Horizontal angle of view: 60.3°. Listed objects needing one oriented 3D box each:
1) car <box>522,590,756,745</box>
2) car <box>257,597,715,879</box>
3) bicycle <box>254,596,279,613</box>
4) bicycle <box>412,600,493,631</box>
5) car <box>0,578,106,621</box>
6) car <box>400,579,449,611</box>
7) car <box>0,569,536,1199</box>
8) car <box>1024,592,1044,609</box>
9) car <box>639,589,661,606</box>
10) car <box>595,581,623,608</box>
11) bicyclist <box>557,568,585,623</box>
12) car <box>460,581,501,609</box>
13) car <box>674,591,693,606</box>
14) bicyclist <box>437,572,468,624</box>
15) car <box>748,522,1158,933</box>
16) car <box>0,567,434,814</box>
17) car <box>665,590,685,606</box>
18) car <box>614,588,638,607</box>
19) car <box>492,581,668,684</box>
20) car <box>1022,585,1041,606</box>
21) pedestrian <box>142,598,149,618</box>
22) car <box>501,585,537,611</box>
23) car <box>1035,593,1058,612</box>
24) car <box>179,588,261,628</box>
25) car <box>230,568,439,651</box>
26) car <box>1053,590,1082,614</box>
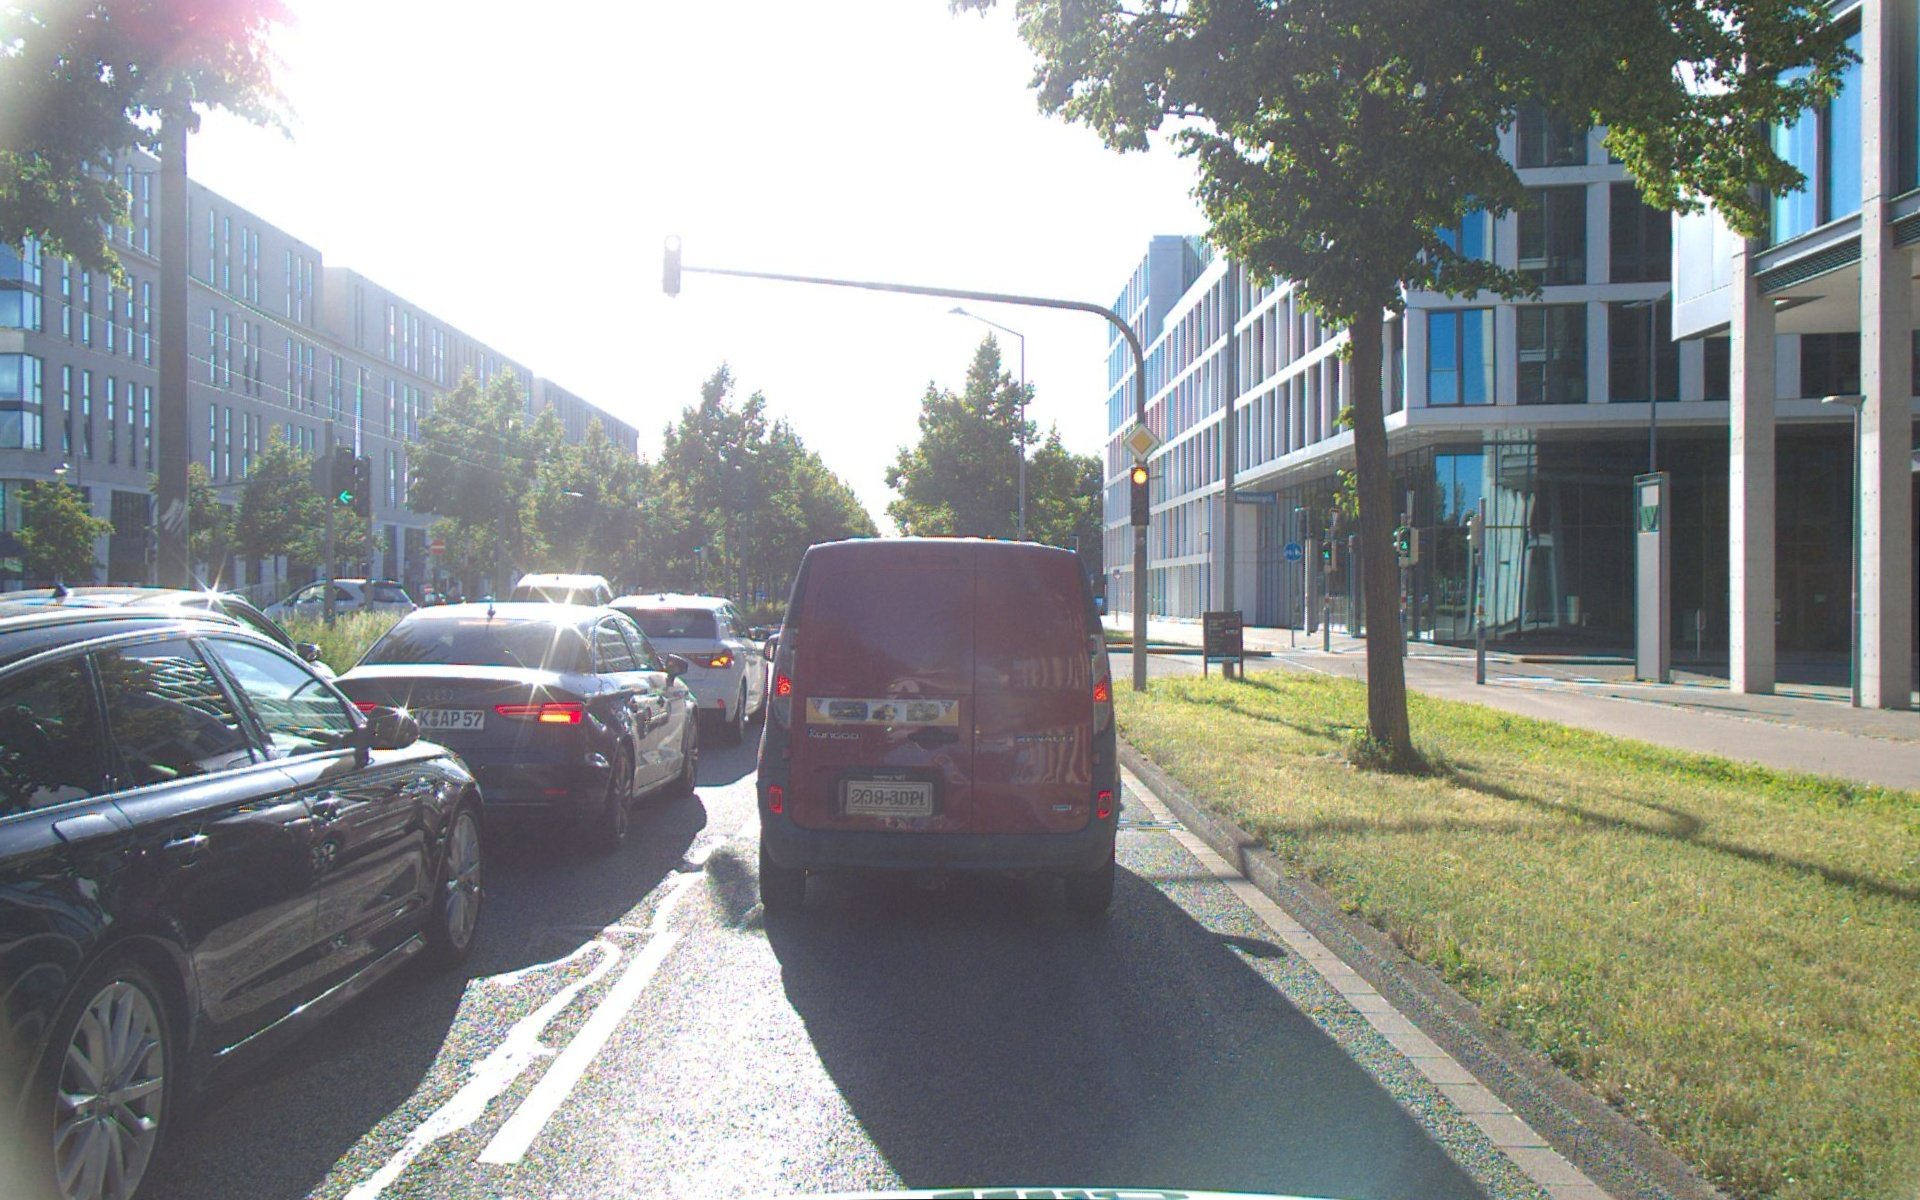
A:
[{"bbox_3d":[-3.265,0.625,17.521,1.767,1.451,3.900,0,0,-1],"label":"car"},{"bbox_3d":[-2.798,0.723,10.828,1.804,1.451,4.338,0,0,-1],"label":"car"},{"bbox_3d":[-40.743,0.255,97.215,0.663,1.005,1.956,0,0,-1],"label":"bicycle"},{"bbox_3d":[-19.725,0.605,64.307,2.883,1.211,0.817,0,0,-3],"label":"bicycle"},{"bbox_3d":[-33.204,-0.037,60.651,1.729,1.546,3.999,0,0,-1],"label":"car"},{"bbox_3d":[-35.288,-0.325,109.109,1.953,2.049,3.999,0,0,-1],"label":"car"},{"bbox_3d":[-2.787,0.685,5.079,1.836,1.510,4.965,0,0,-2],"label":"car"},{"bbox_3d":[8.066,0.051,179.933,1.953,1.813,3.999,0,0,-1],"label":"car"},{"bbox_3d":[-37.215,-0.272,198.659,1.953,2.049,3.999,0,0,-1],"label":"car"},{"bbox_3d":[-35.602,-0.580,167.816,1.953,2.653,3.999,0,0,-1],"label":"car"},{"bbox_3d":[-15.045,-0.173,64.020,0.921,2.129,0.817,0,0,-5],"label":"bicyclist"},{"bbox_3d":[-35.838,-0.396,123.639,1.953,2.049,3.999,0,0,-1],"label":"car"},{"bbox_3d":[-37.165,-0.212,222.301,1.953,2.049,3.999,0,0,-1],"label":"car"},{"bbox_3d":[-19.739,-0.073,64.323,0.978,1.981,0.817,0,0,-2],"label":"bicyclist"},{"bbox_3d":[-0.058,0.558,9.325,1.804,1.812,3.999,0,0,-1],"label":"car"},{"bbox_3d":[-5.531,0.525,12.147,1.762,1.473,4.569,0,0,1],"label":"car"},{"bbox_3d":[-37.353,-0.234,216.675,1.953,2.049,3.999,0,0,-1],"label":"car"},{"bbox_3d":[-36.719,-0.291,181.853,1.953,2.049,3.999,0,0,-1],"label":"car"},{"bbox_3d":[-5.938,0.459,26.349,1.762,1.473,4.568,1,0,0],"label":"car"},{"bbox_3d":[8.581,-0.534,198.460,1.953,2.540,4.986,0,0,-1],"label":"car"},{"bbox_3d":[-44.165,0.447,89.706,0.248,1.104,0.289,0,0,-1],"label":"pedestrian"},{"bbox_3d":[-36.248,-0.160,135.945,1.953,2.049,3.999,0,0,-1],"label":"car"},{"bbox_3d":[8.420,0.222,160.738,1.953,1.813,3.999,0,0,-1],"label":"car"},{"bbox_3d":[-34.750,0.364,77.771,1.953,1.845,4.369,0,0,-1],"label":"car"},{"bbox_3d":[-13.721,0.201,36.241,4.469,1.508,1.802,4,0,30],"label":"car"},{"bbox_3d":[8.323,0.138,128.139,1.953,1.813,3.999,0,0,-1],"label":"car"}]
